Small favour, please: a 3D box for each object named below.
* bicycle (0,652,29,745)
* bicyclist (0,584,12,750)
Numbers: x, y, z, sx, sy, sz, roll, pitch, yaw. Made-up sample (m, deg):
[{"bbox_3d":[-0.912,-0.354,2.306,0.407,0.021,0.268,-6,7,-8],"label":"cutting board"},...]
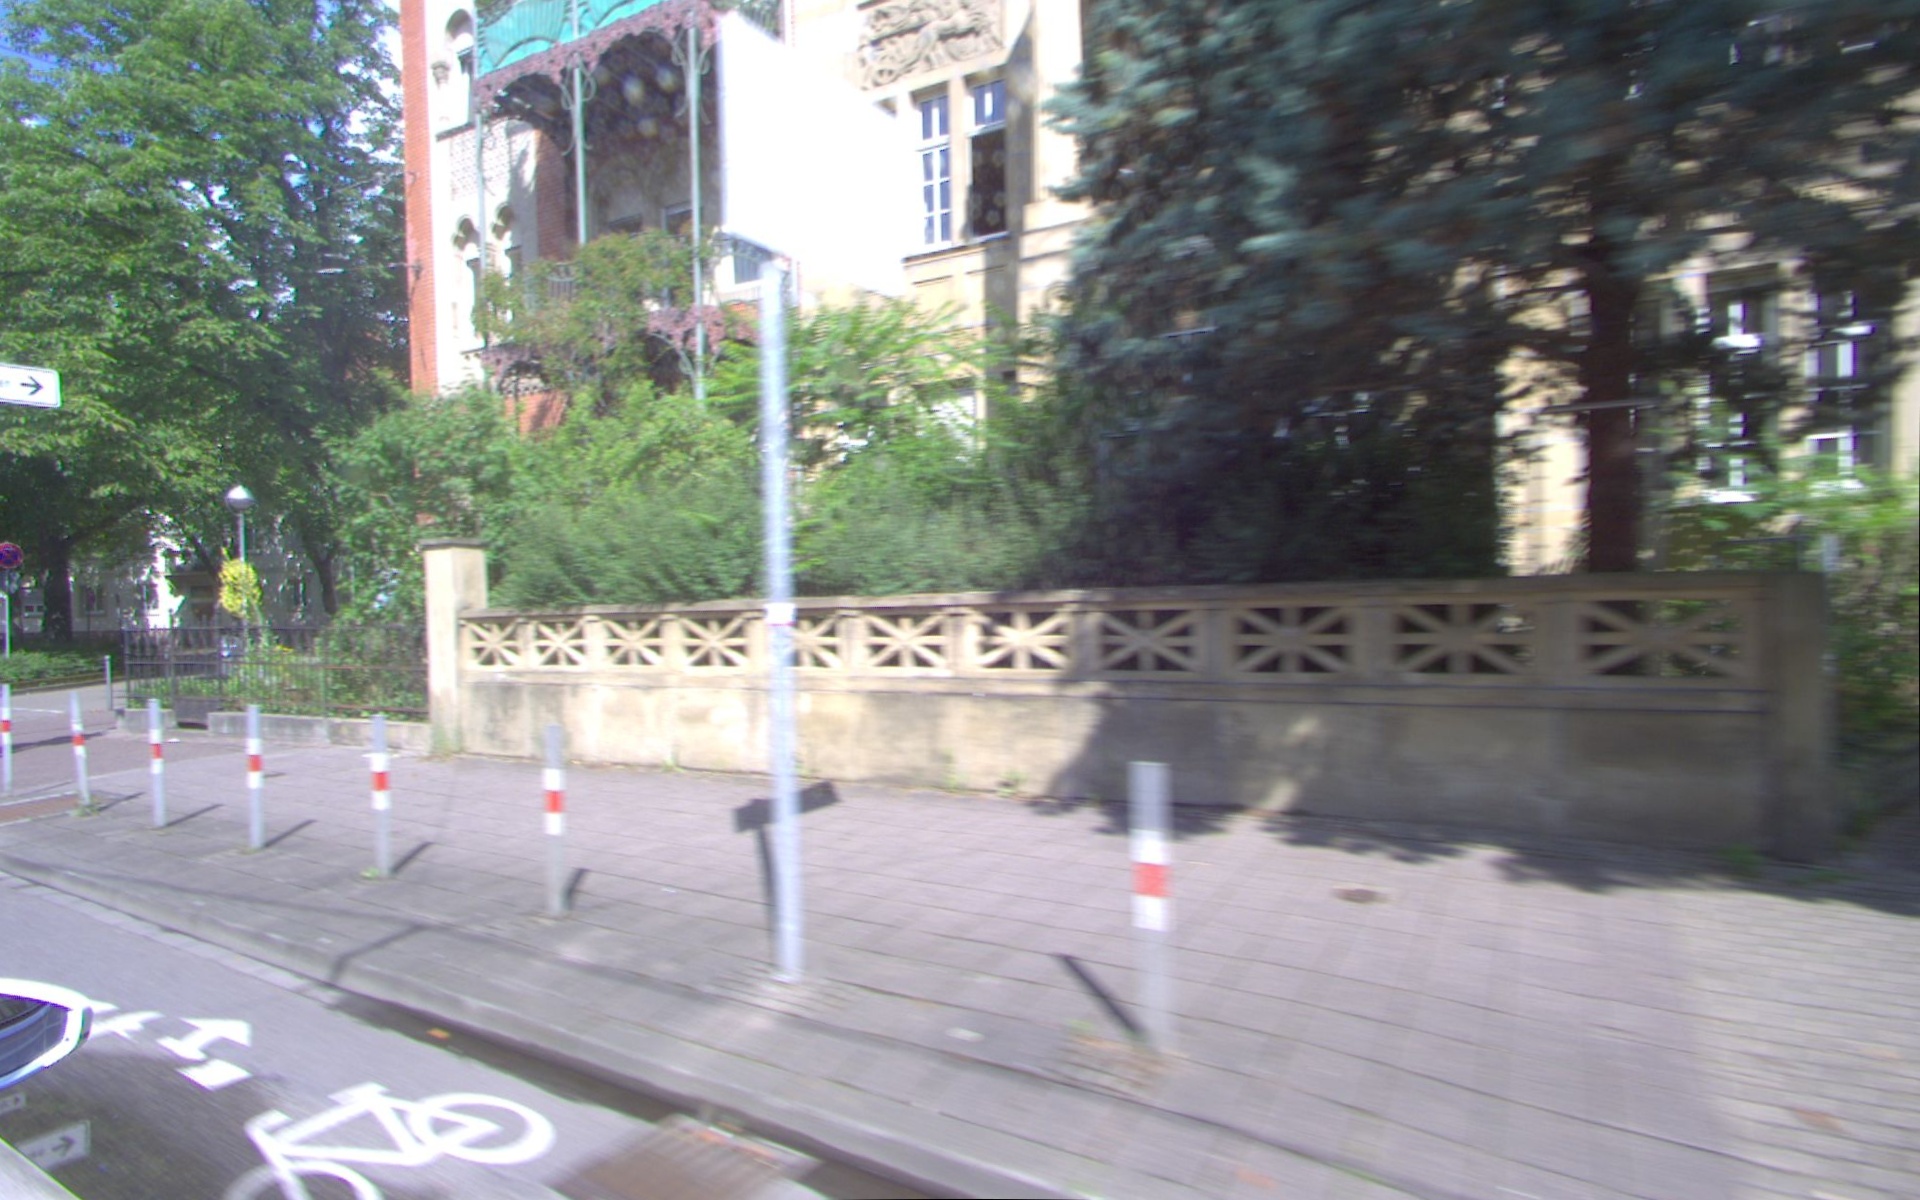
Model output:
[{"bbox_3d":[-11.102,1.147,11.074,0.383,1.049,1.841,-1,1,-17],"label":"bicycle"},{"bbox_3d":[-11.055,0.748,10.865,0.804,1.843,0.735,-1,1,6],"label":"bicyclist"}]
